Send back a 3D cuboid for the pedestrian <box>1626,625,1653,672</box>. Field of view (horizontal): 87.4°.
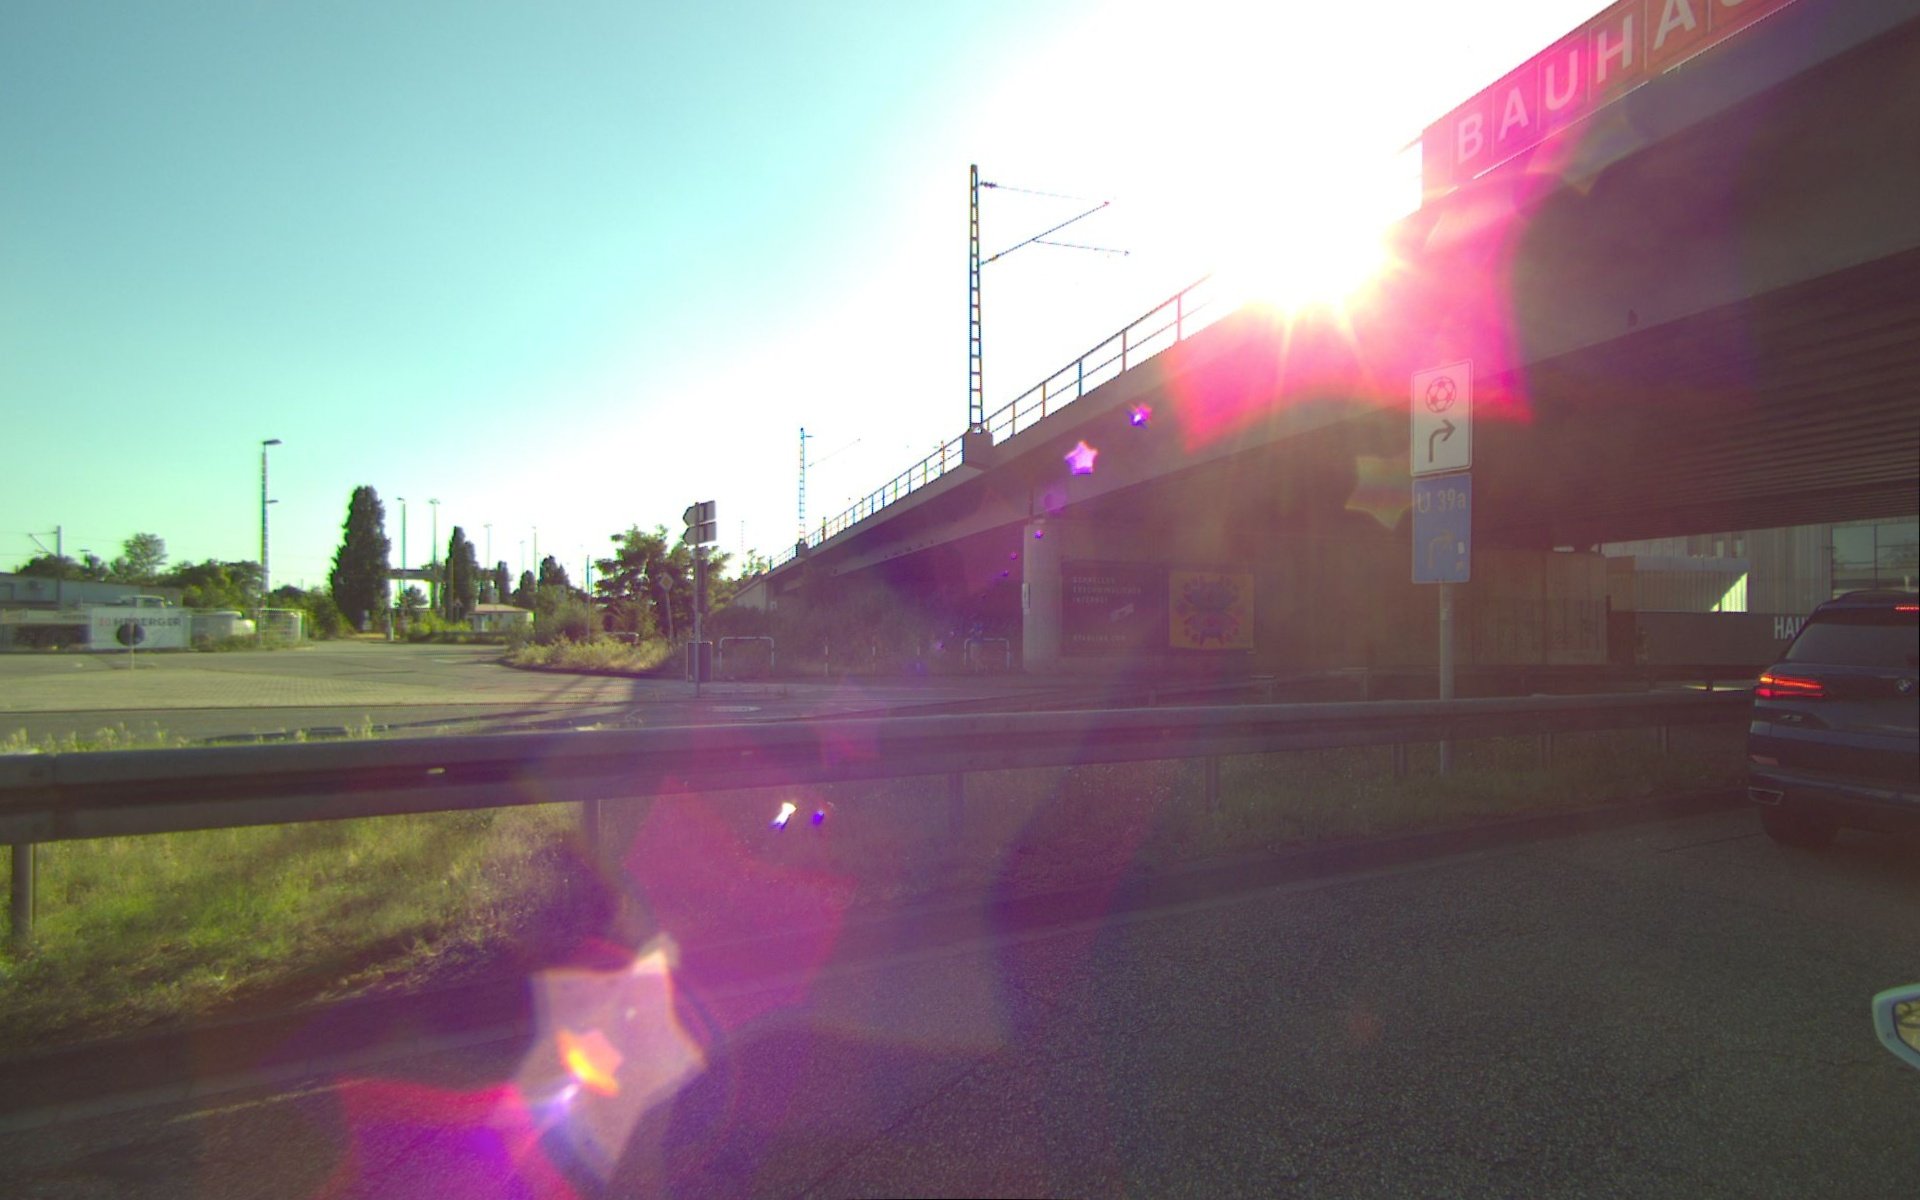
[{"bbox_3d":[28.296,2.005,41.848,0.656,1.928,0.692,2,-1,-25],"label":"pedestrian"}]

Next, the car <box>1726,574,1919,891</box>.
[{"bbox_3d":[7.246,0.826,6.704,4.408,1.761,1.821,3,-2,-29],"label":"car"}]

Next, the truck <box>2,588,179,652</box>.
[{"bbox_3d":[-46.718,1.140,54.248,2.393,3.186,6.775,1,-2,25],"label":"truck"}]
